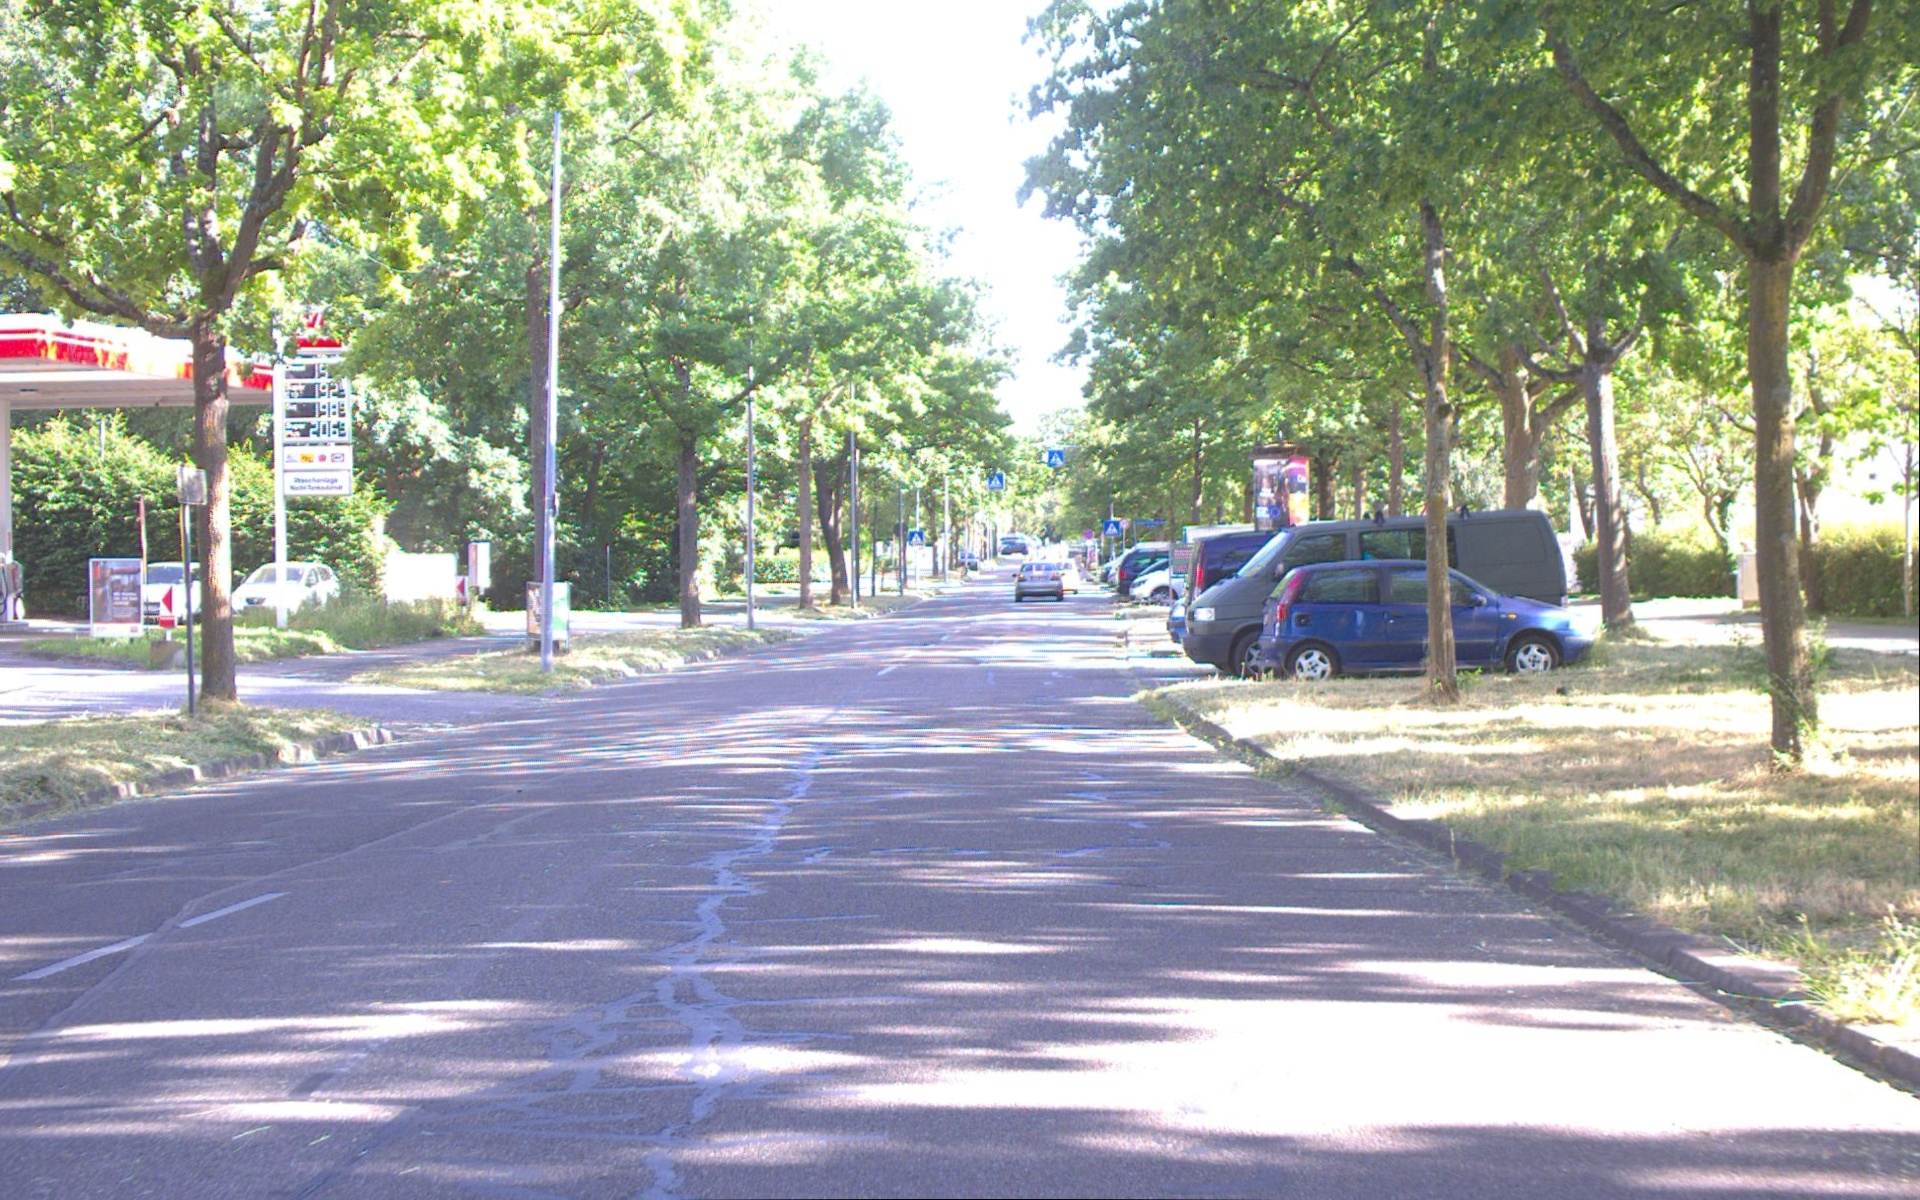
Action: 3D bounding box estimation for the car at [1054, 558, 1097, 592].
[{"bbox_3d":[4.761,-1.028,142.350,1.661,1.332,3.665,-1,0,1],"label":"car"}]

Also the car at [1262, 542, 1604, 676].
[{"bbox_3d":[5.279,0.105,38.625,3.653,1.393,1.317,-1,-1,1],"label":"car"}]

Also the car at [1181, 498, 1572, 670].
[{"bbox_3d":[4.993,-0.181,41.613,4.502,1.946,1.687,-1,-1,1],"label":"car"}]

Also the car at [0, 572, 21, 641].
[{"bbox_3d":[-23.301,0.161,80.083,1.801,1.615,3.805,-1,0,0],"label":"car"}]

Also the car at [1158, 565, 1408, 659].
[{"bbox_3d":[4.869,0.179,52.114,3.653,1.325,1.317,-1,-1,1],"label":"car"}]

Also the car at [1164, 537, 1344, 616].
[{"bbox_3d":[6.154,-0.479,72.220,3.653,1.557,1.317,-1,-1,1],"label":"car"}]

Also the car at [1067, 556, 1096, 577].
[{"bbox_3d":[8.309,-2.299,234.780,1.736,1.332,3.664,-1,0,5],"label":"car"}]

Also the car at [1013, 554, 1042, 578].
[{"bbox_3d":[3.890,-1.960,198.427,1.661,1.332,3.665,-1,0,1],"label":"car"}]

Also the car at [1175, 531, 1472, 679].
[{"bbox_3d":[4.632,0.071,44.112,3.653,1.791,1.317,-1,-1,1],"label":"car"}]

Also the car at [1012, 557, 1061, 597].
[{"bbox_3d":[2.724,-0.812,123.119,1.661,1.332,3.665,-1,0,1],"label":"car"}]

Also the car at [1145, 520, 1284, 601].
[{"bbox_3d":[6.745,-1.044,91.376,3.567,2.044,1.633,-1,-1,1],"label":"car"}]

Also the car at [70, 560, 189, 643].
[{"bbox_3d":[-18.868,0.046,78.208,1.801,1.817,3.805,-1,0,-1],"label":"car"}]

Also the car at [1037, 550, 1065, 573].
[{"bbox_3d":[5.819,-2.466,220.423,1.661,1.332,3.665,-1,0,1],"label":"car"}]

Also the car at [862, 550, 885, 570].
[{"bbox_3d":[-6.289,-2.921,249.745,1.645,1.421,4.000,-1,1,-1],"label":"car"}]

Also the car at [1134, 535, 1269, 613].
[{"bbox_3d":[6.592,-0.701,94.115,3.567,2.044,1.575,-1,-1,1],"label":"car"}]
